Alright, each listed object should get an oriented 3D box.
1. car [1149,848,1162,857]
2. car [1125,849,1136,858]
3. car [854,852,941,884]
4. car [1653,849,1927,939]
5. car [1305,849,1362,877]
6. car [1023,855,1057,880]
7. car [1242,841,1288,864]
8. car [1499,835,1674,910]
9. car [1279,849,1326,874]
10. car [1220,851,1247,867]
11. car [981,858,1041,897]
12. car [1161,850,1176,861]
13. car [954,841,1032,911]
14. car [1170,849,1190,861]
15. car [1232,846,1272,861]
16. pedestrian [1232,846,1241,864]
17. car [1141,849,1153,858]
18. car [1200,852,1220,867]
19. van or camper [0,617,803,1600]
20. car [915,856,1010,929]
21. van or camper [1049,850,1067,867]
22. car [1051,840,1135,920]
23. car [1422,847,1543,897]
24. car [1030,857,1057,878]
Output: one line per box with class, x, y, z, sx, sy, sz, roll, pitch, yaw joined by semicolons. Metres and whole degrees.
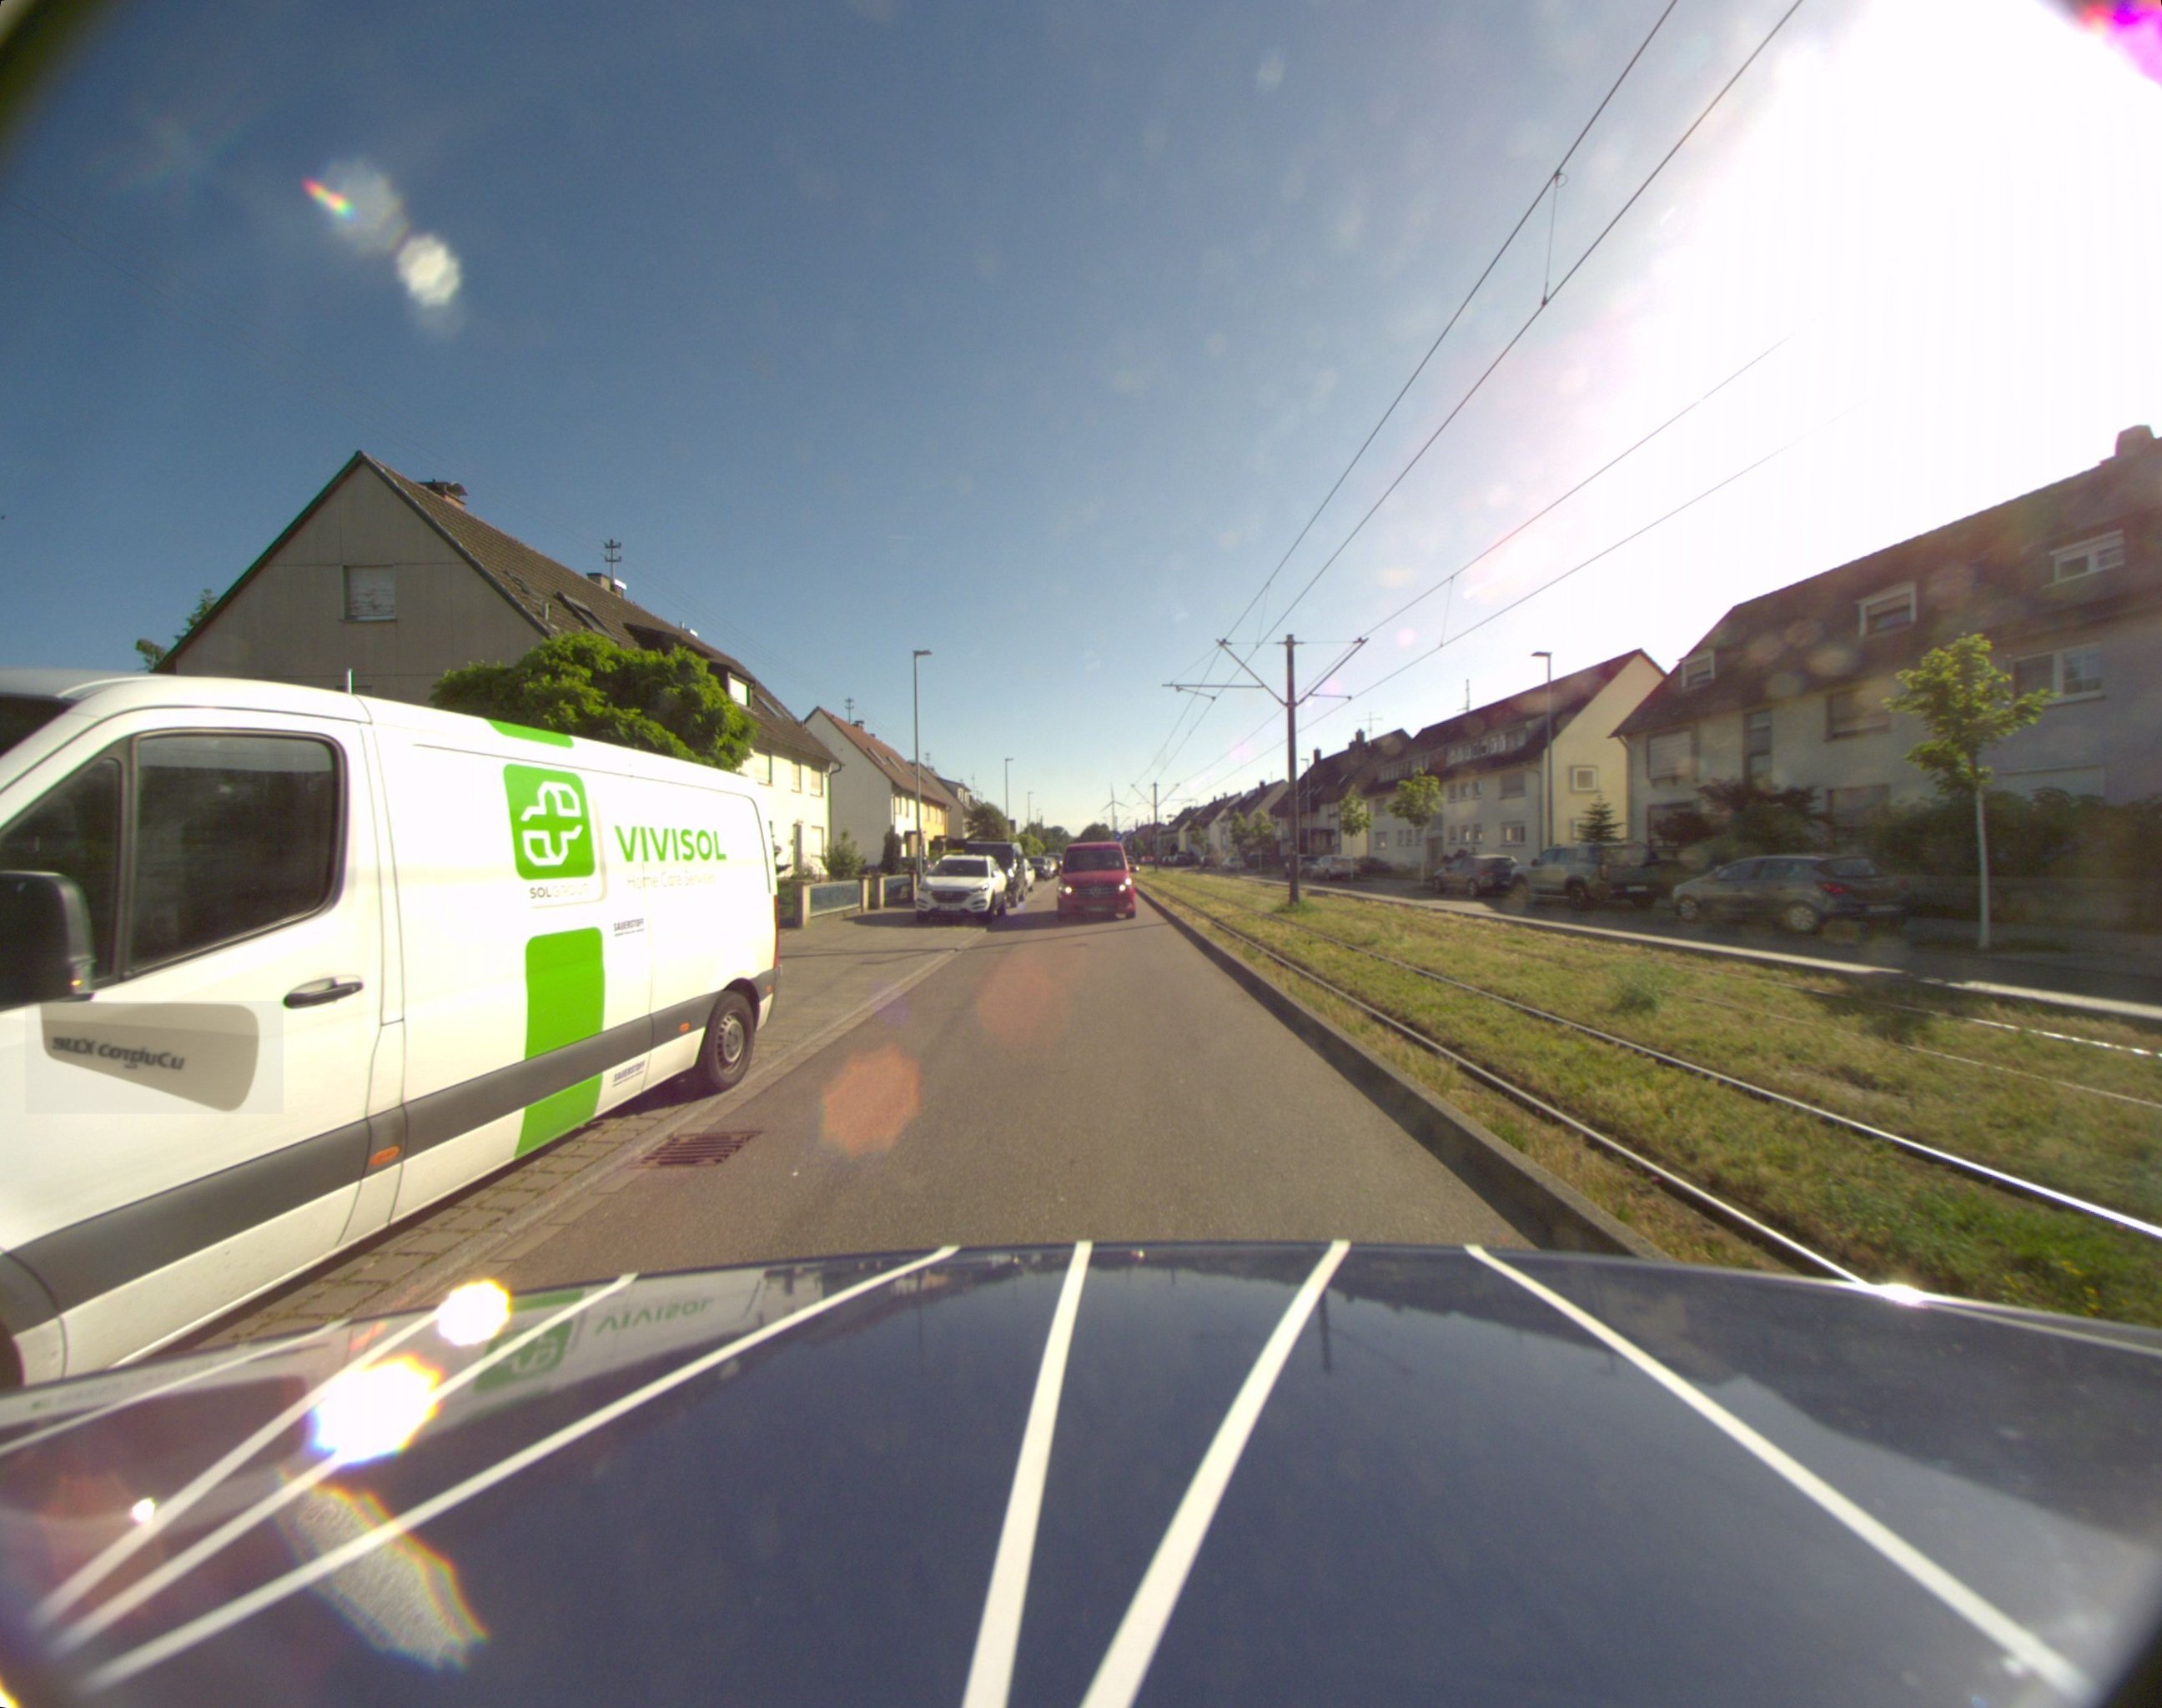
car;13.022;-0.266;132.333;1.704;1.389;4.091;-2;1;-1
car;9.289;-0.131;143.509;1.693;1.467;3.679;-2;1;-1
car;-10.373;0.753;43.257;4.426;1.645;2.196;-1;1;-2
car;13.959;0.687;15.348;1.680;1.482;4.049;-3;1;-1
car;14.457;0.483;43.720;1.693;1.467;4.442;-2;1;-1
car;-2.604;0.824;48.986;1.782;1.490;4.728;-1;0;2
car;19.676;-0.188;81.358;4.472;2.069;1.787;-4;1;1
car;13.986;0.445;21.450;1.749;1.812;4.841;-3;0;1
car;14.481;0.470;49.824;1.693;1.464;4.314;-2;1;-1
car;14.571;0.433;72.866;1.662;1.428;4.102;-2;0;-1
car;-2.884;0.940;32.524;1.857;1.435;5.614;1;0;2
car;13.546;0.226;117.607;1.658;1.447;4.400;-2;1;-1
car;-2.856;0.632;25.808;1.964;2.132;5.335;0;1;1
car;13.944;0.172;107.170;1.926;1.551;4.857;-2;1;-1
car;21.096;-0.099;93.836;4.403;1.773;1.970;-1;0;-1
pedestrian;16.230;0.087;79.407;0.617;1.805;0.678;-3;1;-9
car;12.550;-0.119;144.175;1.832;1.522;4.091;-2;1;-1
car;14.519;0.589;85.690;1.623;1.503;4.085;-2;0;1
van or camper;-3.442;0.558;3.356;1.998;2.258;6.304;1;1;1
car;-2.967;0.901;19.893;1.730;1.636;4.318;1;1;1
van or camper;-2.545;0.448;83.816;1.954;1.836;5.581;0;1;-1
car;0.252;0.610;21.321;1.999;1.889;5.389;-2;1;-1
car;14.327;0.574;27.433;1.965;1.531;4.556;-2;1;1
car;-2.665;0.927;54.800;1.752;1.438;4.699;0;-1;0
